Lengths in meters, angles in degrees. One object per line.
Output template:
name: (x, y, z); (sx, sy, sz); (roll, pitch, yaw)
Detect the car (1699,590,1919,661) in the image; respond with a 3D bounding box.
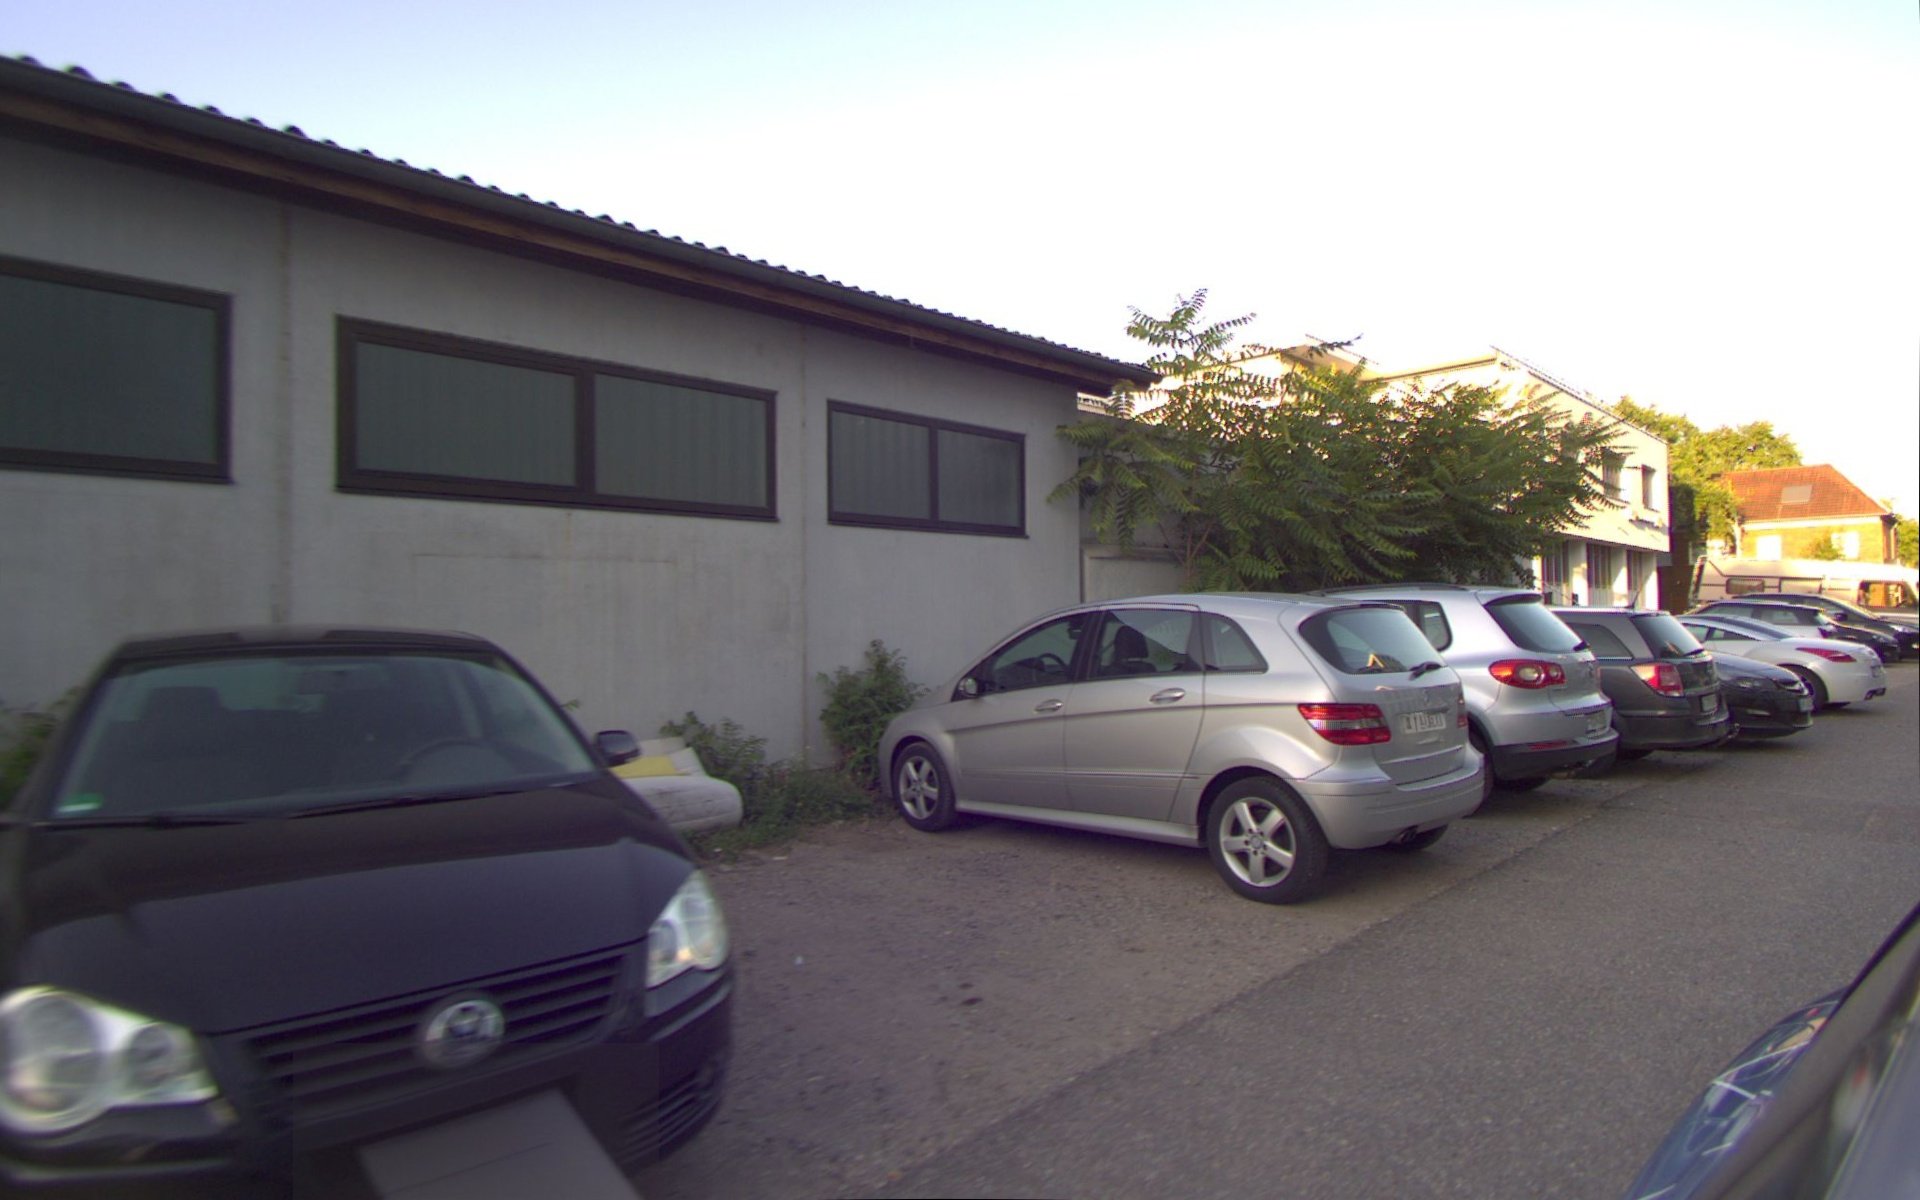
car: (20.698, 0.565, 24.772); (1.683, 1.583, 4.007); (0, 0, -44)

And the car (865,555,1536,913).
car: (1.309, 0.670, 6.768); (1.905, 1.630, 3.989); (0, -2, -41)

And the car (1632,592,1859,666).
car: (17.155, 0.570, 22.222); (1.682, 1.497, 3.710); (0, 0, -41)

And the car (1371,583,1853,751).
car: (7.182, 0.670, 11.552); (1.856, 1.522, 4.211); (-1, -1, -38)

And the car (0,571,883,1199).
car: (-2.120, 0.739, 3.401); (1.813, 1.463, 3.764); (-1, -1, -41)

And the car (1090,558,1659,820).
car: (3.210, 0.619, 8.439); (1.796, 1.640, 3.986); (0, -2, -43)

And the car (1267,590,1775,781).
car: (5.307, 0.721, 10.019); (1.795, 1.464, 3.991); (-1, -1, -39)

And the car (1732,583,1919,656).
car: (23.152, 0.457, 26.530); (1.930, 1.763, 4.254); (0, 0, -35)

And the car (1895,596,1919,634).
car: (36.523, 0.561, 36.240); (1.864, 1.350, 4.321); (0, 1, -42)

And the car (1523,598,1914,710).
car: (10.837, 0.731, 14.767); (1.789, 1.385, 4.213); (0, -2, -36)

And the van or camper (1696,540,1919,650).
van or camper: (24.988, -0.160, 29.105); (2.444, 2.900, 5.790); (0, 0, -41)

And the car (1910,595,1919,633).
car: (38.329, 0.565, 37.773); (1.863, 1.425, 4.061); (1, 0, -42)
